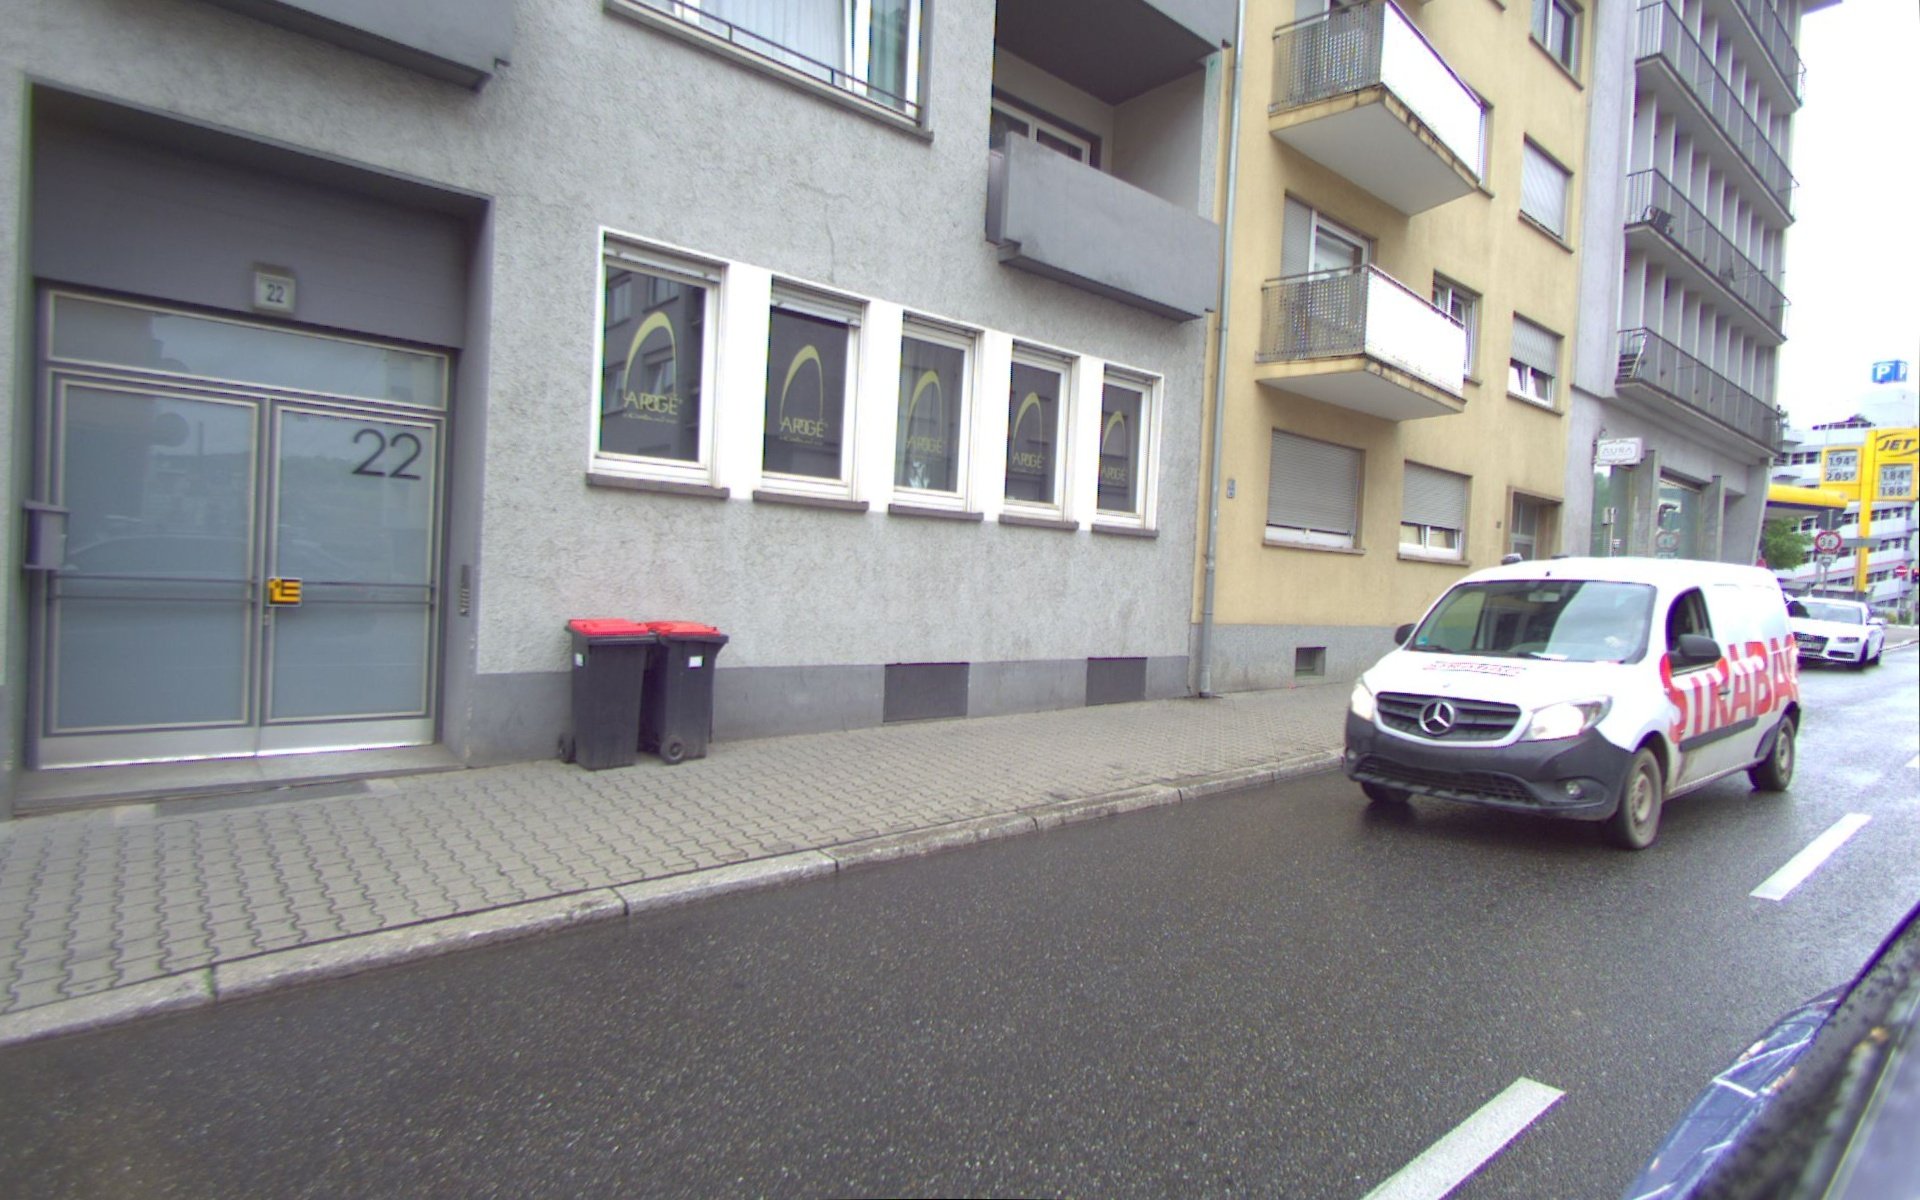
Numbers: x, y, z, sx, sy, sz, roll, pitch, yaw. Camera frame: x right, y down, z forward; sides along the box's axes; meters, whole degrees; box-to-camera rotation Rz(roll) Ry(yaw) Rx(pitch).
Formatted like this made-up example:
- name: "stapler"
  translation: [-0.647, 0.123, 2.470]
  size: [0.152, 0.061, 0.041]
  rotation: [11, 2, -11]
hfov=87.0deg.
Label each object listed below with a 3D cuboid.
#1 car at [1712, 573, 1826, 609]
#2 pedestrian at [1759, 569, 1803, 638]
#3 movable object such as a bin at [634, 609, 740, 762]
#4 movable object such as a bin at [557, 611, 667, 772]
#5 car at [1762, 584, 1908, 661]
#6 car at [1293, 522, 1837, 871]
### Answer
- name: "car"
  translation: [35.334, -0.376, 44.360]
  size: [1.738, 1.493, 4.000]
  rotation: [0, 0, 0]
- name: "pedestrian"
  translation: [21.753, 0.081, 26.818]
  size: [0.872, 1.777, 0.679]
  rotation: [0, 2, -39]
- name: "movable object such as a bin"
  translation: [-1.908, 0.572, 7.059]
  size: [0.506, 0.961, 0.541]
  rotation: [0, 4, -40]
- name: "movable object such as a bin"
  translation: [-2.322, 0.581, 6.732]
  size: [0.506, 0.967, 0.541]
  rotation: [0, 4, -40]
- name: "car"
  translation: [19.293, 0.438, 22.266]
  size: [4.093, 1.453, 1.803]
  rotation: [0, 4, -41]
- name: "car"
  translation: [4.634, 0.475, 7.435]
  size: [4.660, 1.797, 1.945]
  rotation: [0, 1, -39]
